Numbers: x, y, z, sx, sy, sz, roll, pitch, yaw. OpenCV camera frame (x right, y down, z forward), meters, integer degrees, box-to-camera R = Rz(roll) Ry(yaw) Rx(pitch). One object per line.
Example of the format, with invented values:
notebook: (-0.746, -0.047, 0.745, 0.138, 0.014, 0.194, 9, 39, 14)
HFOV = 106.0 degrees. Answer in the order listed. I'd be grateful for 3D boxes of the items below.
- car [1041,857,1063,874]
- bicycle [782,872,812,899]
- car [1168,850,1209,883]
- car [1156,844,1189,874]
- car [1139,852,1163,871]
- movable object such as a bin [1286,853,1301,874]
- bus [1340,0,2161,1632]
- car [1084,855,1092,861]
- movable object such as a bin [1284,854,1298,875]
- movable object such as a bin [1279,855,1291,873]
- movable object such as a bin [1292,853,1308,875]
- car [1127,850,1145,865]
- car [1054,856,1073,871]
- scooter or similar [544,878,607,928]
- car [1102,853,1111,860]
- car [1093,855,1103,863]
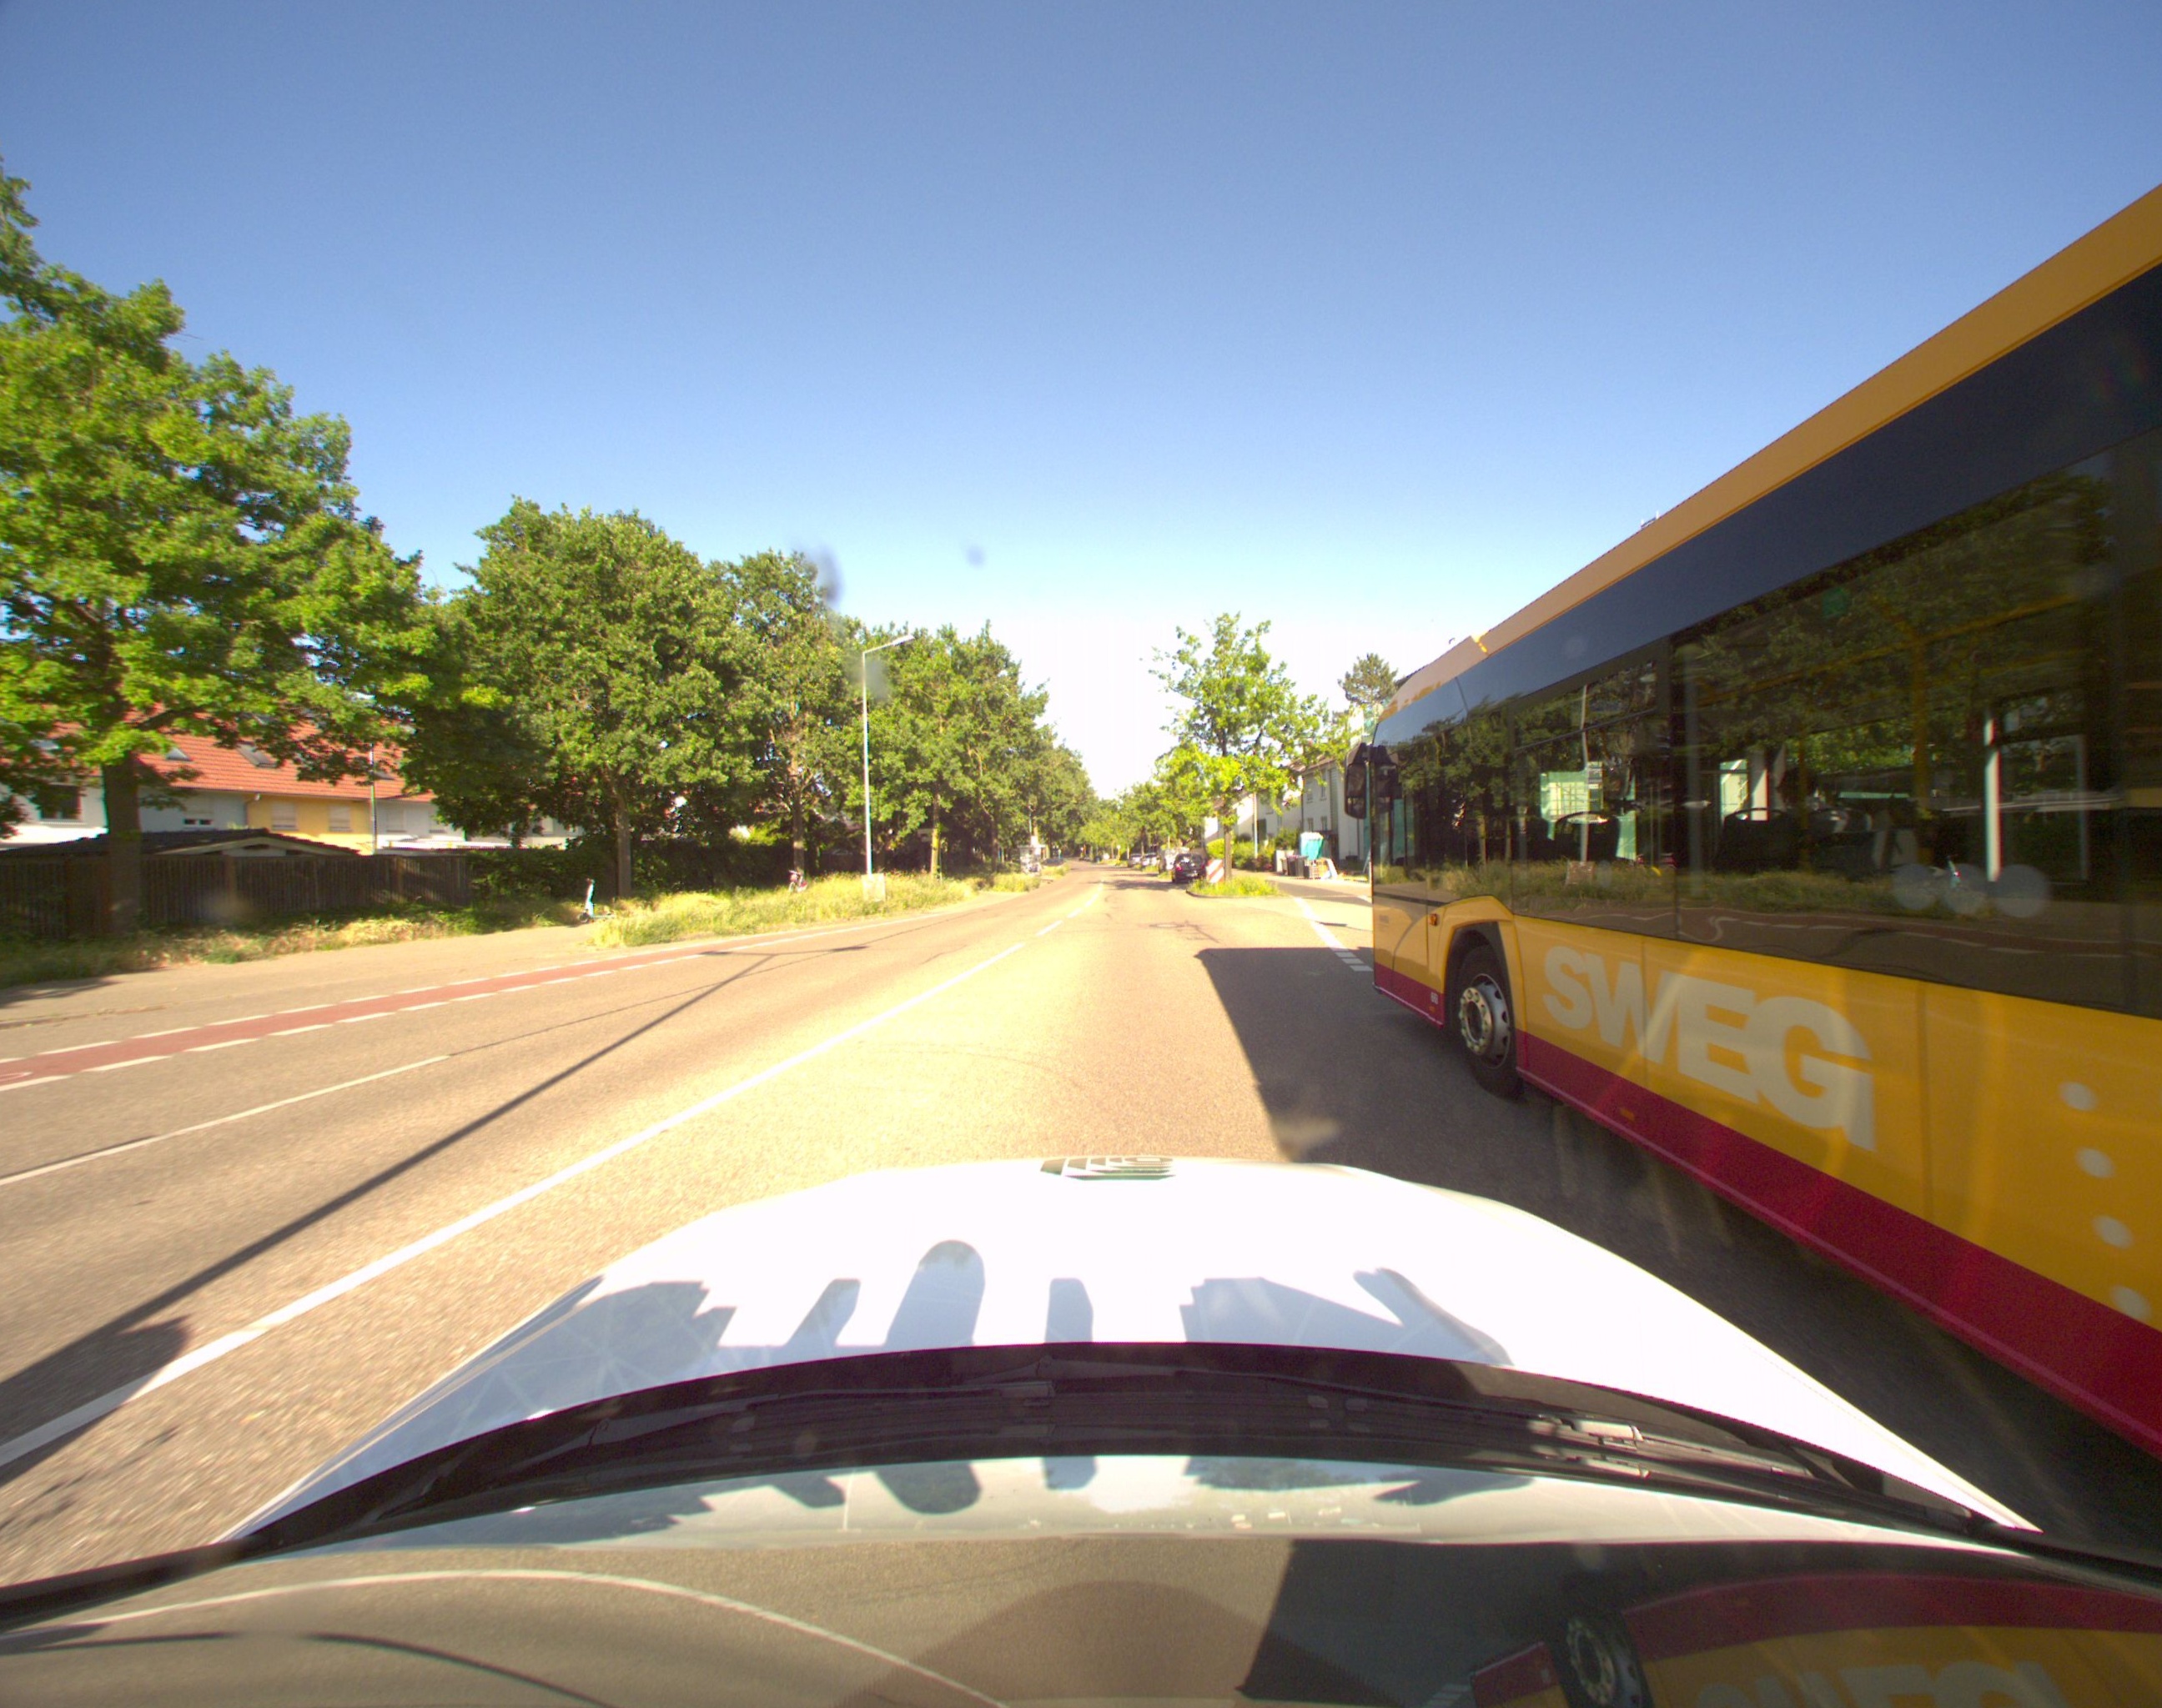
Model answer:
car: (-2.583, 1.032, 73.355, 1.930, 1.479, 3.998, -2, 0, -1)
bicycle: (-11.861, 1.301, 34.064, 0.503, 1.053, 1.881, -2, 0, 3)
car: (5.566, 0.625, 42.560, 1.666, 1.578, 3.753, -3, 0, 2)
car: (6.444, 0.359, 57.808, 1.829, 1.971, 4.758, -2, 0, 0)
car: (6.723, 0.688, 78.248, 1.929, 1.704, 3.999, -2, 0, 0)
movable object such as a bin: (10.992, 0.499, 42.085, 0.601, 1.069, 0.646, -2, 0, 1)
bus: (3.374, -0.300, 1.638, 2.744, 3.458, 12.416, -3, -1, 5)
car: (1.670, 1.038, 198.023, 1.928, 1.454, 3.998, -2, 0, -1)
movable object such as a bin: (11.056, 0.543, 42.924, 0.601, 1.069, 0.567, -2, 0, 1)
movable object such as a bin: (11.200, 0.542, 44.746, 0.527, 0.932, 0.549, -2, 0, 1)
movable object such as a bin: (11.026, 0.512, 40.975, 0.601, 1.069, 0.646, -2, 0, 1)
car: (6.720, 0.395, 100.714, 1.927, 1.742, 3.999, -2, 0, 0)
car: (-1.938, 0.997, 89.597, 1.988, 1.556, 3.997, -1, 0, -2)
scooter or similar: (-13.829, 1.322, 22.321, 0.534, 1.218, 1.420, 0, 1, 19)
car: (6.055, 0.565, 195.952, 1.928, 1.454, 3.998, -2, 0, -1)
car: (3.597, 1.094, 170.158, 1.927, 1.542, 3.999, -2, 0, 0)
